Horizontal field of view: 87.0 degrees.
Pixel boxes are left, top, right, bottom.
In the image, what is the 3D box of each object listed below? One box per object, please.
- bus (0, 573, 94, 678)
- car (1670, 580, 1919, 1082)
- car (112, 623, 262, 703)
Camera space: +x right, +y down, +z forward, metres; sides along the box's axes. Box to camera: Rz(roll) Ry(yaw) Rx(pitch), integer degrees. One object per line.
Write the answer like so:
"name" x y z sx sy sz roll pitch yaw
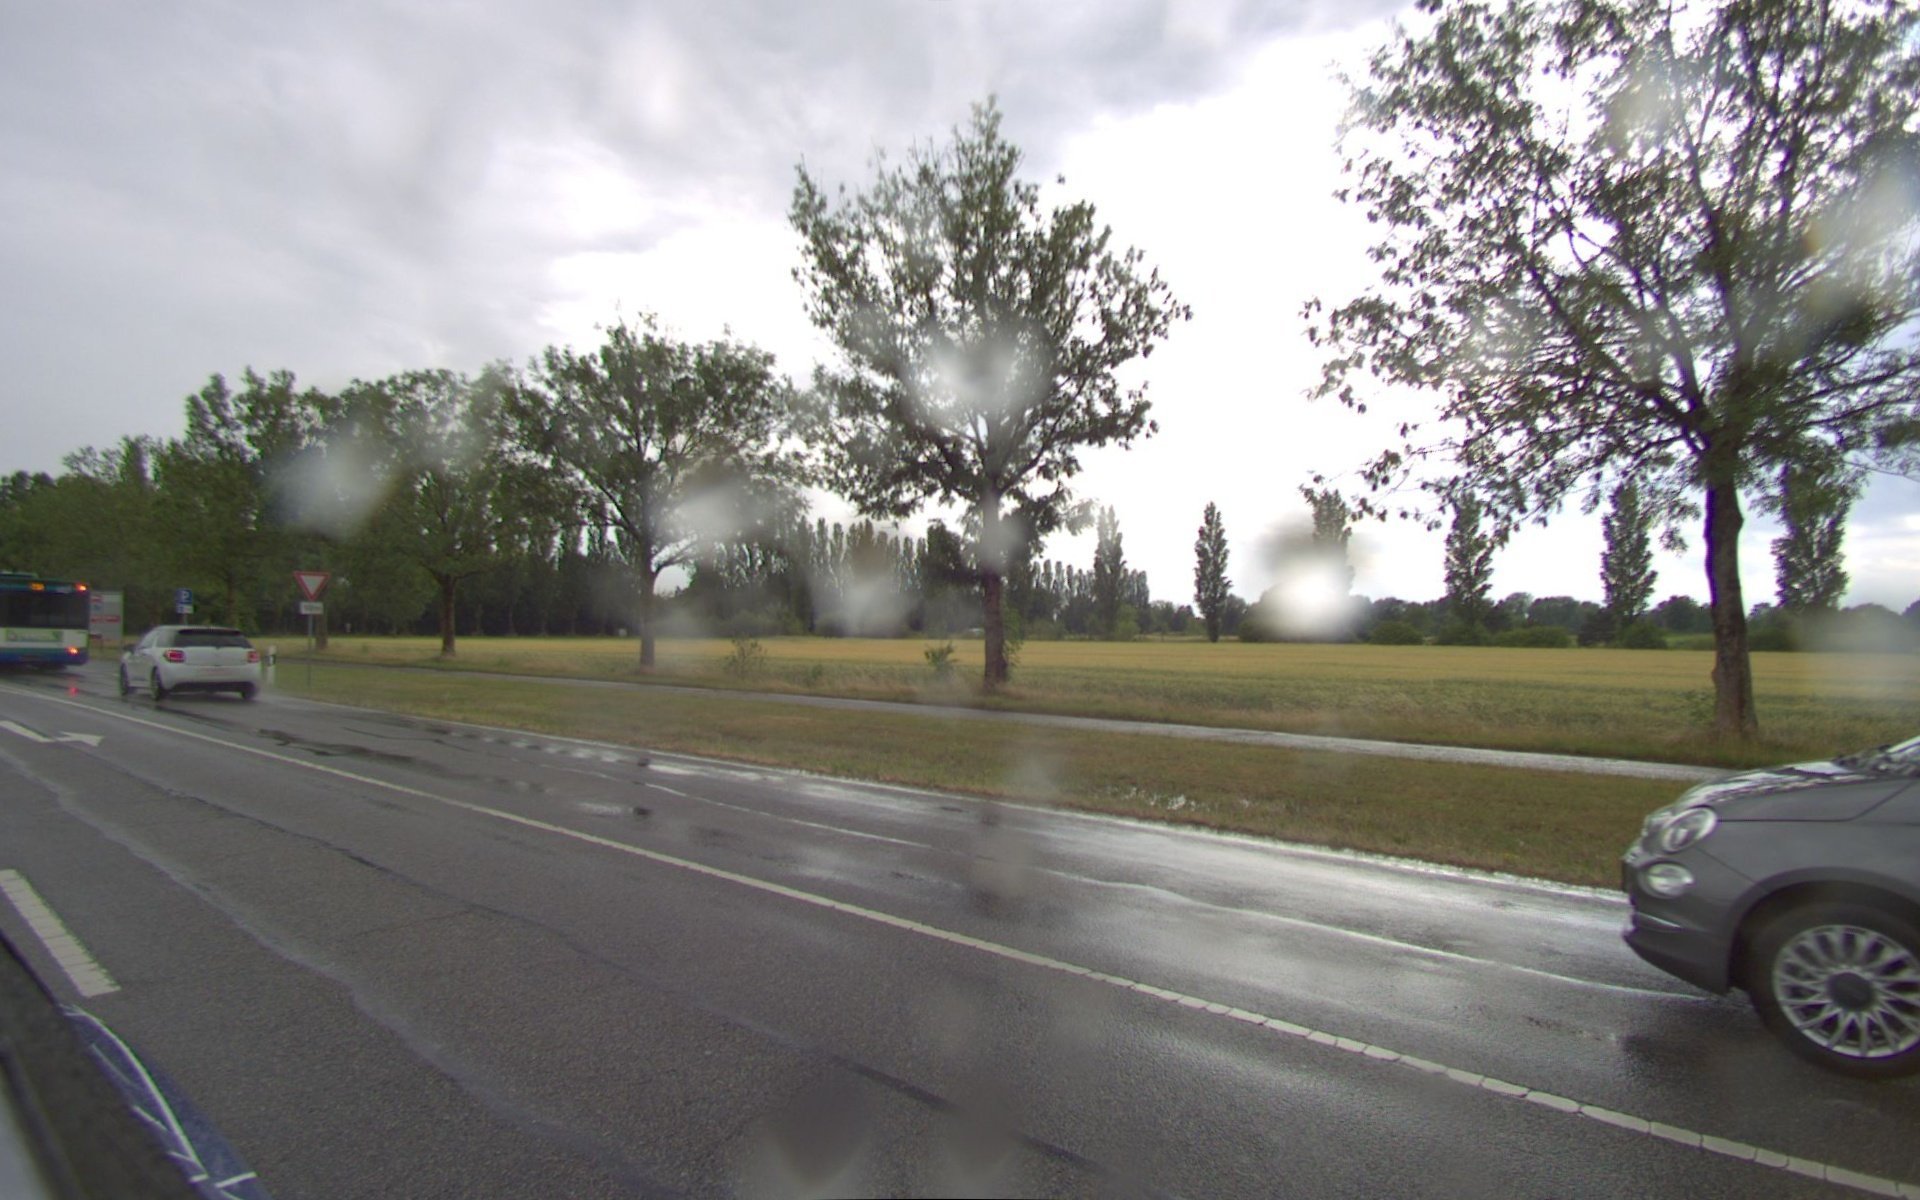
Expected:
"bus" -31.361 0.804 32.756 12.463 2.934 2.921 -1 -3 40
"car" 4.222 0.735 3.015 3.300 1.541 1.485 -1 -4 42
"car" -15.590 1.236 20.367 3.459 1.461 1.651 -1 -4 41
